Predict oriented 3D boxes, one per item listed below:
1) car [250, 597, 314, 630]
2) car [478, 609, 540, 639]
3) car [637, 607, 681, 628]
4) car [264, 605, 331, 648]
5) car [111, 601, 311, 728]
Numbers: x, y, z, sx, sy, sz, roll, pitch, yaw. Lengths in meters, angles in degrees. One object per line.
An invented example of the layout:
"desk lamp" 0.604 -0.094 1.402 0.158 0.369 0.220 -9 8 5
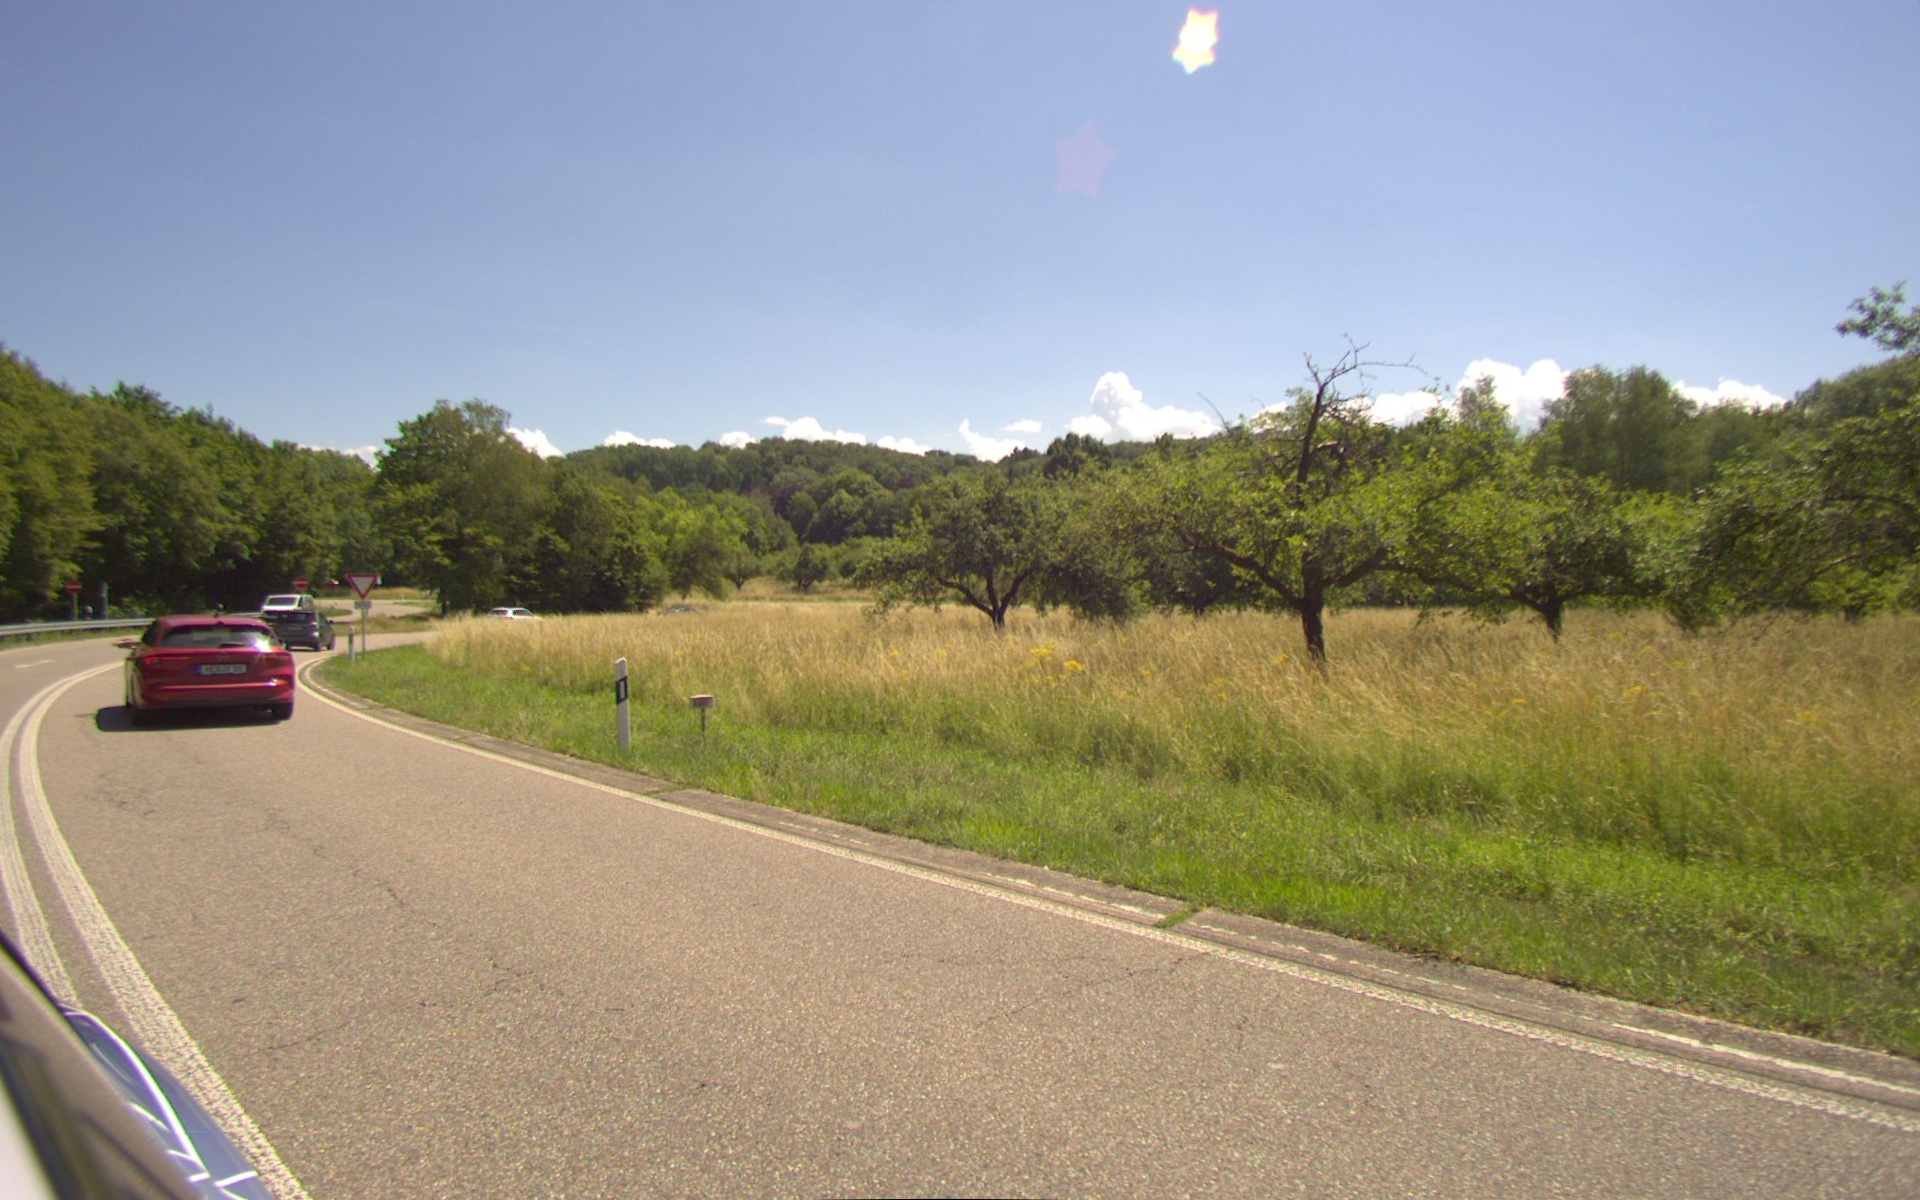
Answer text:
"car" -44.464 0.838 66.497 2.187 2.048 5.444 -1 0 -20
"car" -26.970 1.452 60.670 1.802 1.602 4.218 3 -2 -1
"car" -23.194 1.406 78.155 1.784 1.518 4.654 2 -1 3
"car" -25.286 0.976 38.737 1.710 1.518 4.086 -1 0 -27
"car" -10.804 0.831 14.463 1.800 1.469 4.406 5 -2 -42
